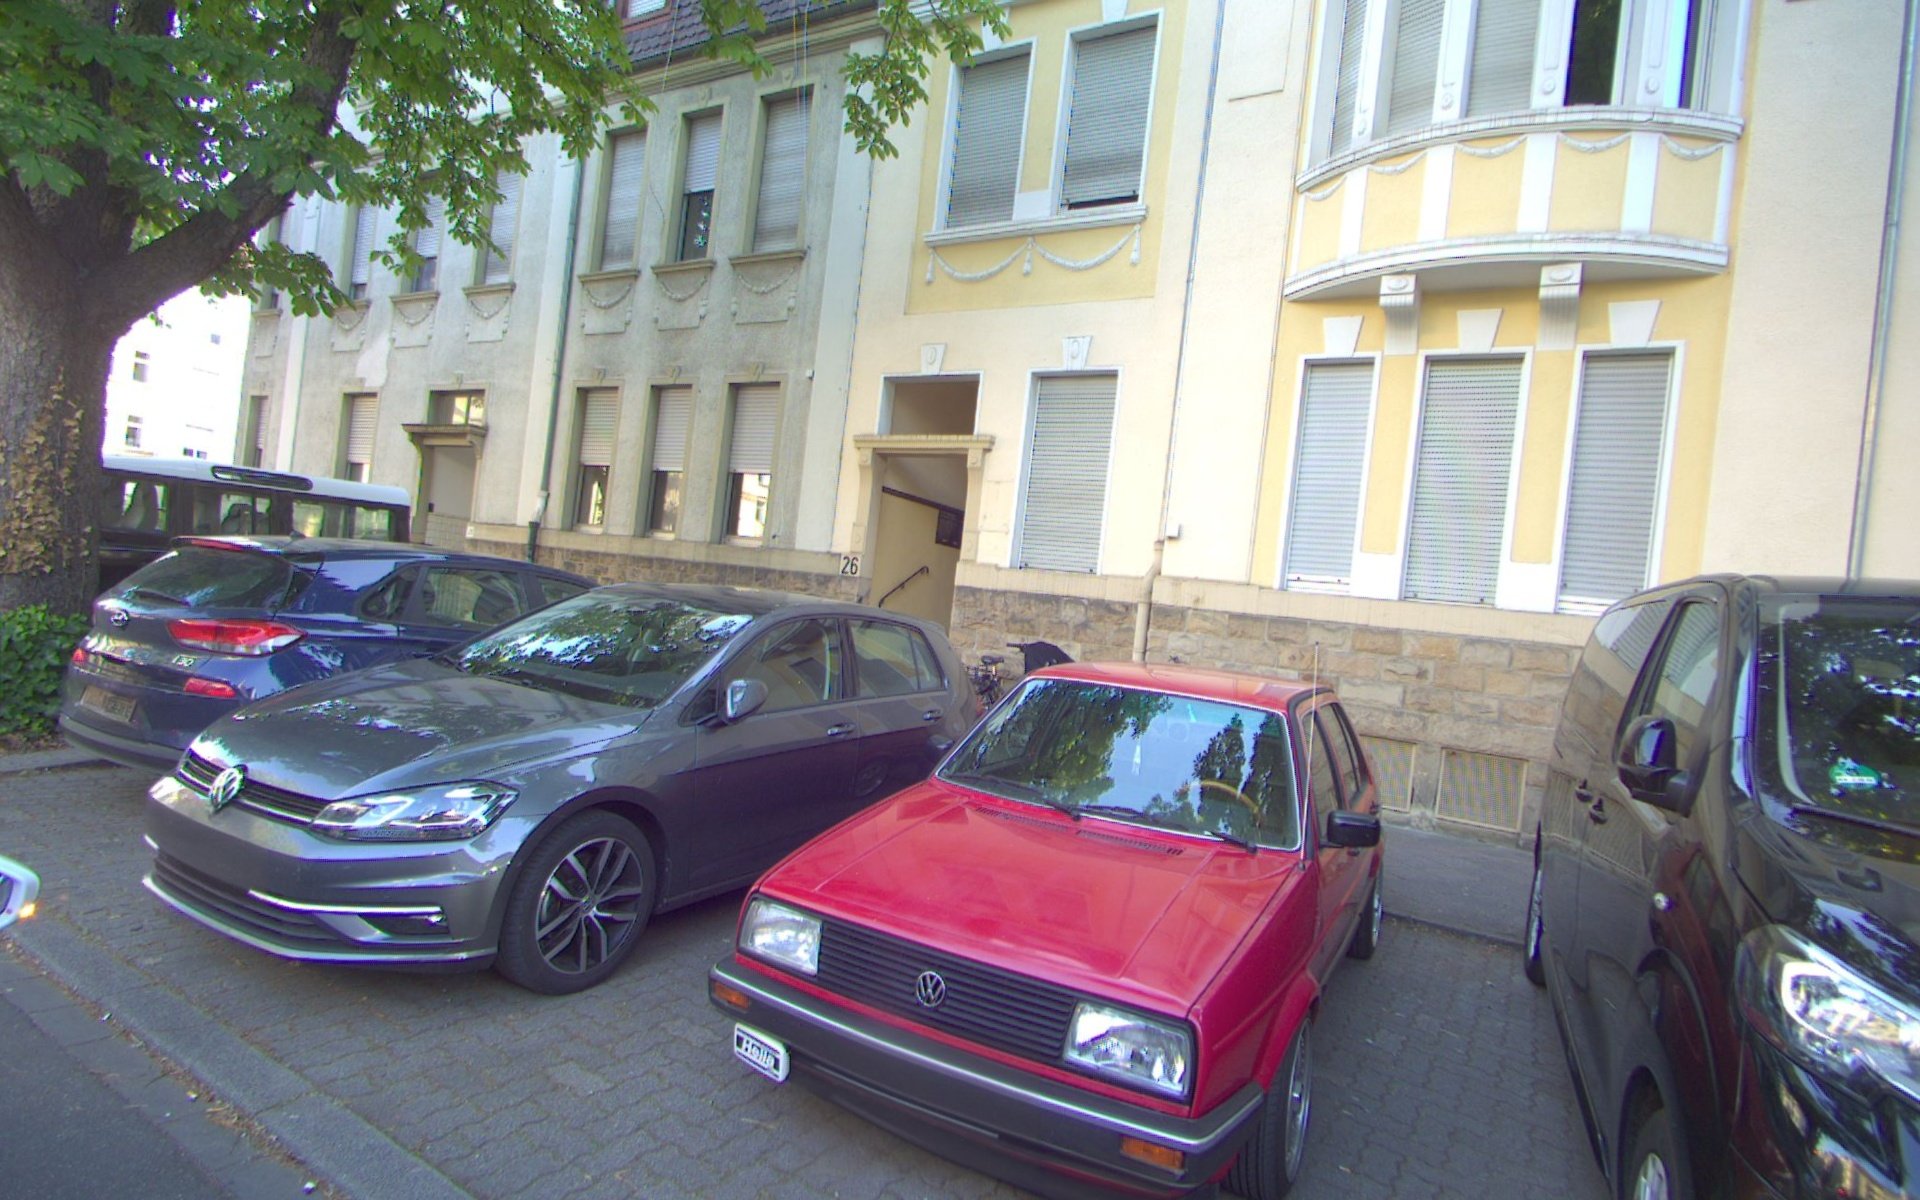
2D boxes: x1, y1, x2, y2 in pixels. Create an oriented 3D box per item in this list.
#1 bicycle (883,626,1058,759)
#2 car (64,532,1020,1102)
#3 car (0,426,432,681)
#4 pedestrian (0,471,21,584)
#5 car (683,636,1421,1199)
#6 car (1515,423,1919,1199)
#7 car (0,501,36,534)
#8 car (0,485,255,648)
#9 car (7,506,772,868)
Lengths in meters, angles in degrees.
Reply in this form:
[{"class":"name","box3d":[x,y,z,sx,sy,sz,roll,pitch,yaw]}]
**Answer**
[{"class":"bicycle","box3d":[0.088,0.909,10.278,1.675,1.090,0.500,7,2,32]},{"class":"car","box3d":[-1.358,0.649,4.833,1.600,1.440,4.054,6,0,29]},{"class":"car","box3d":[-7.618,-0.381,9.313,1.762,1.981,4.496,7,1,29]},{"class":"pedestrian","box3d":[-16.324,-1.251,16.810,0.565,1.867,0.633,7,0,28]},{"class":"car","box3d":[0.870,0.926,4.193,1.532,1.337,3.916,6,0,29]},{"class":"car","box3d":[2.880,0.898,2.947,1.848,1.847,4.829,6,0,27]},{"class":"car","box3d":[-36.349,-3.232,36.866,1.357,1.081,3.370,7,-1,30]},{"class":"car","box3d":[-10.043,-0.396,10.883,1.680,1.606,3.488,7,0,25]},{"class":"car","box3d":[-3.042,0.416,6.195,1.600,1.440,3.754,6,0,29]}]
